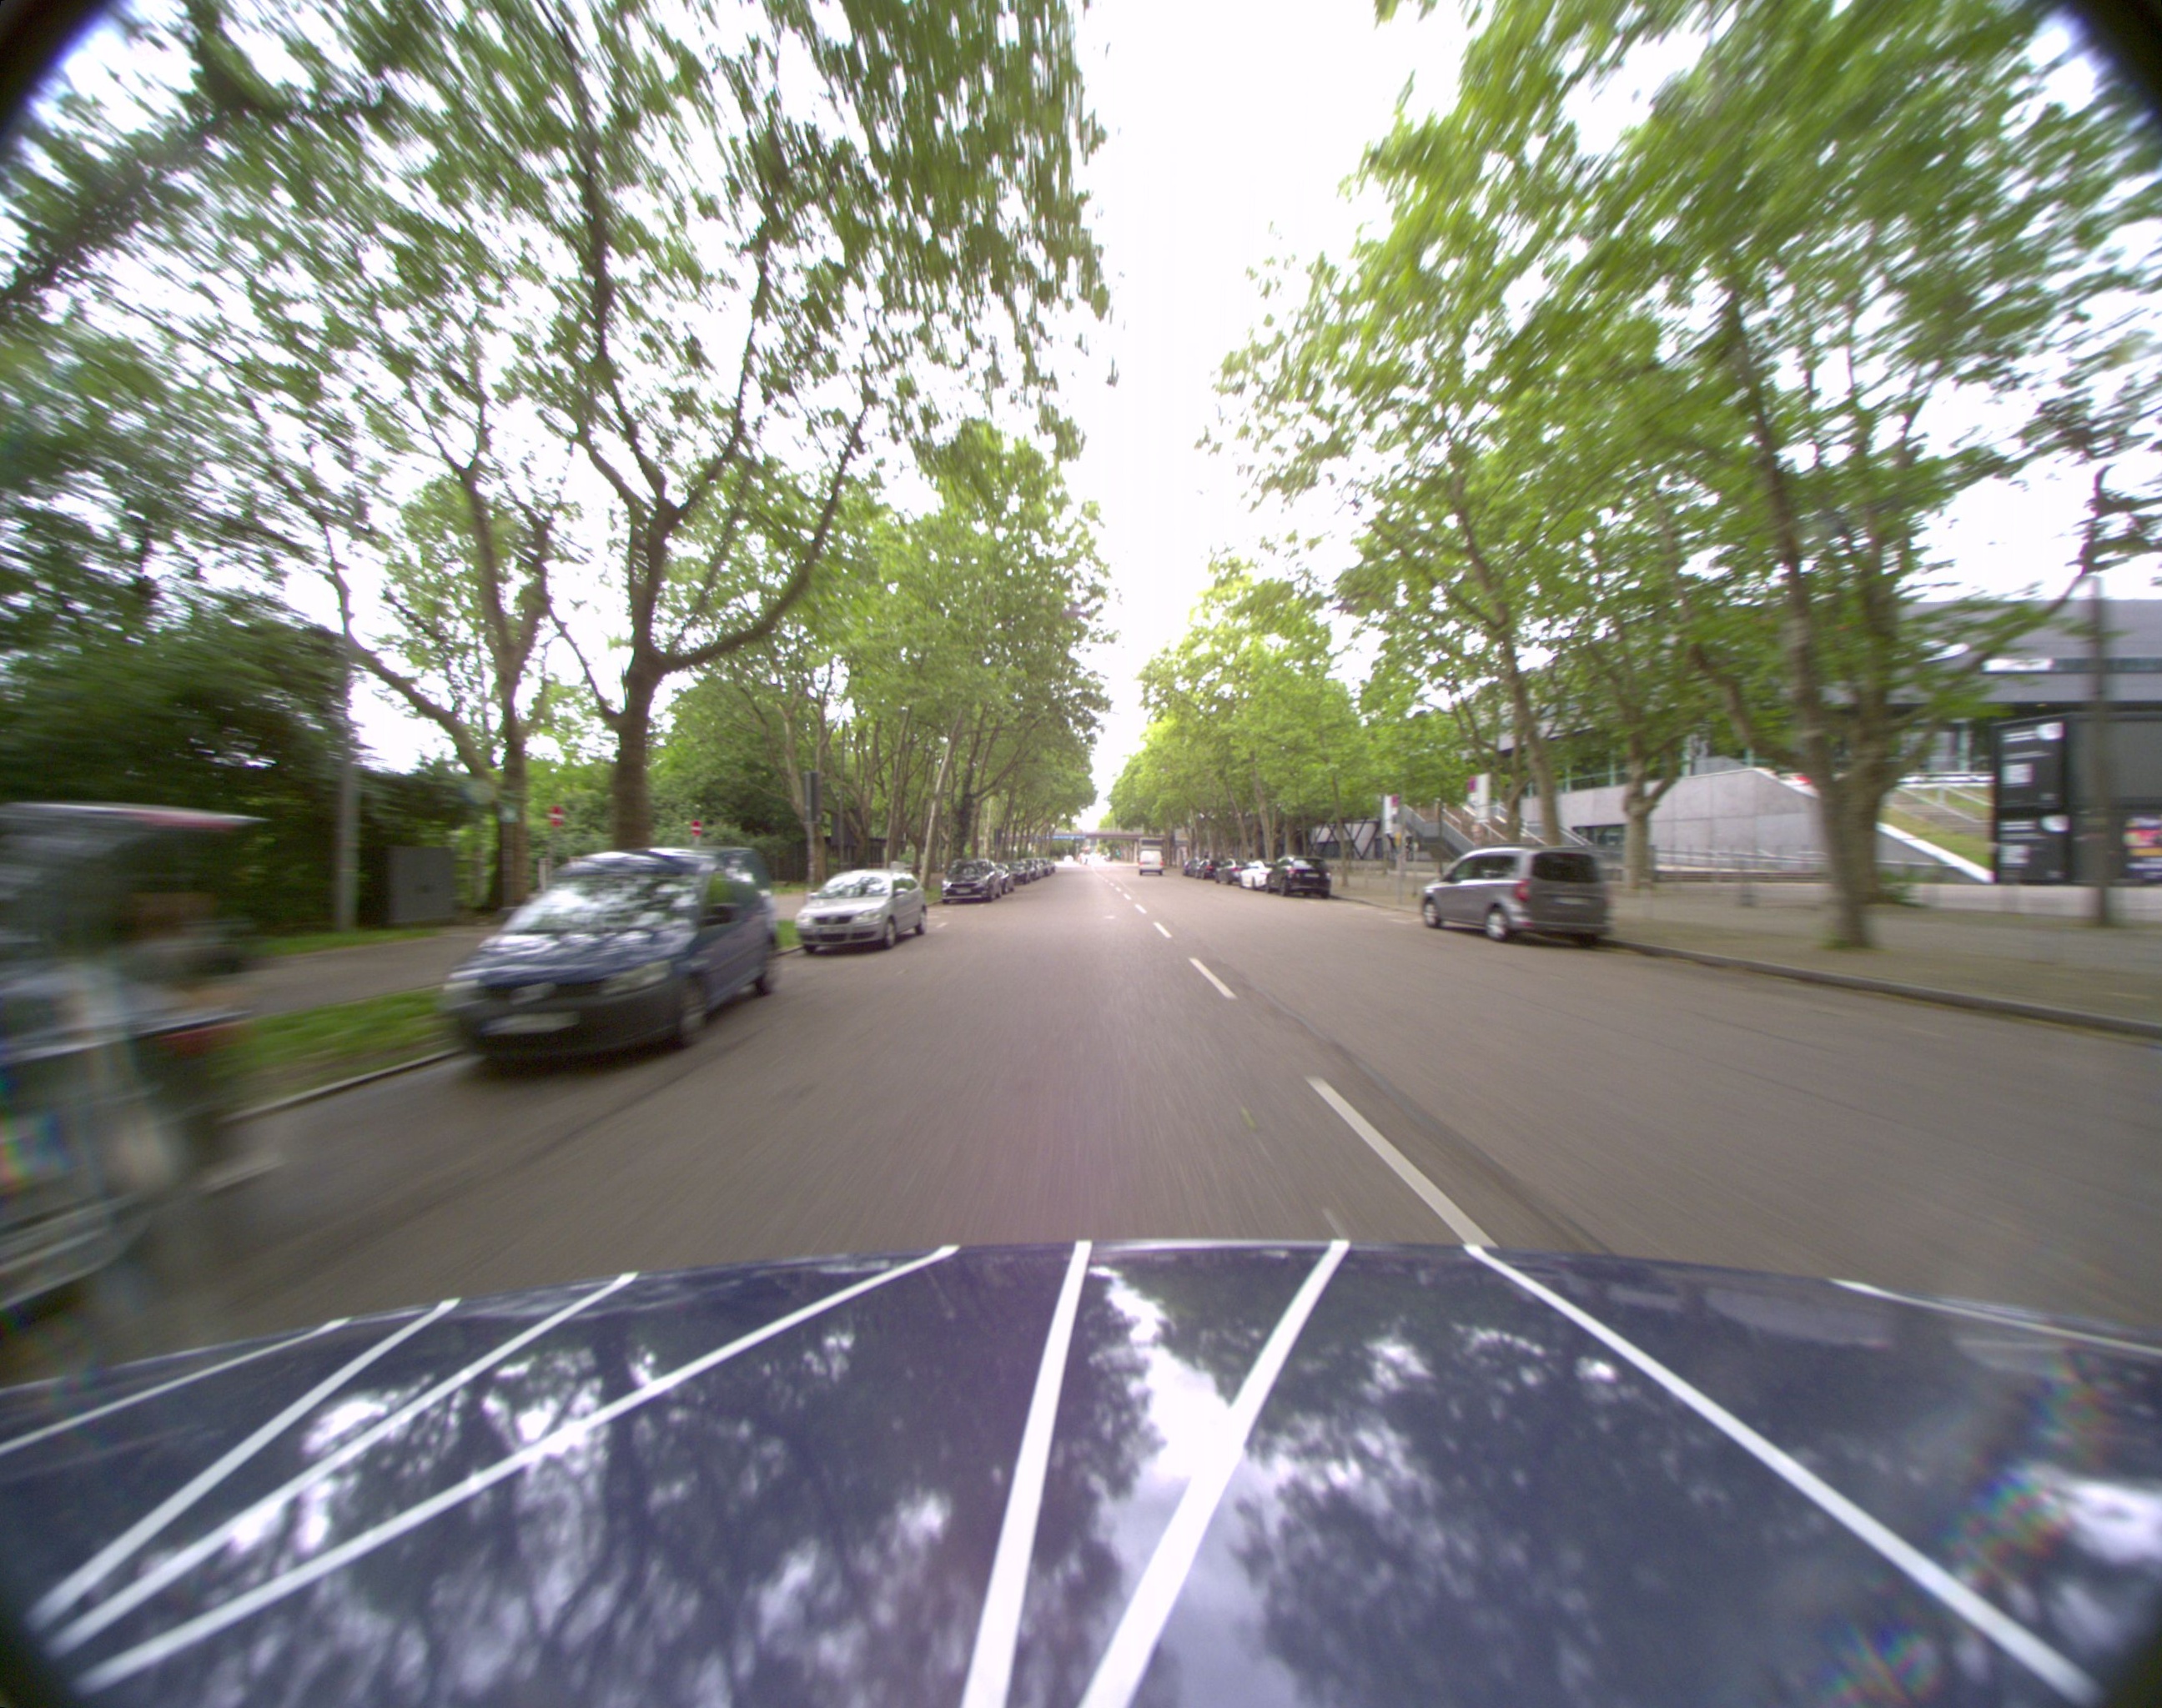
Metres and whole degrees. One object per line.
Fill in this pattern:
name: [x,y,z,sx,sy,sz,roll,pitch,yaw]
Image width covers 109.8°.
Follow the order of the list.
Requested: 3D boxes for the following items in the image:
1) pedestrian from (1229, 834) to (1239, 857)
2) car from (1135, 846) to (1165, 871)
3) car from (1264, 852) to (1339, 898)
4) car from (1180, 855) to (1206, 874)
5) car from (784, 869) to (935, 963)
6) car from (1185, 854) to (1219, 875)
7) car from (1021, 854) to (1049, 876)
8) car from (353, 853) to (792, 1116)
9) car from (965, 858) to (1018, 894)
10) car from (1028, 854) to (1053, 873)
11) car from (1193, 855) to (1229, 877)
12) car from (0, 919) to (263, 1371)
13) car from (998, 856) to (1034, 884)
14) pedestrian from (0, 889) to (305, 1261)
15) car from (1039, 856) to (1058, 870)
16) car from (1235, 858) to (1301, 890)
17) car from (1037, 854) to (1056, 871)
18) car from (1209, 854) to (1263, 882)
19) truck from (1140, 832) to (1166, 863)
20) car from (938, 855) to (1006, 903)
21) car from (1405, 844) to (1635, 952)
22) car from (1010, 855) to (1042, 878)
pedestrian: [12.606,-0.701,62.646,0.508,1.829,0.826,-1,1,-6]
car: [5.647,0.333,62.965,2.064,1.950,5.466,0,0,1]
car: [8.701,0.778,30.354,1.822,1.584,4.345,3,1,3]
car: [9.238,0.830,62.814,1.698,1.354,4.001,4,0,3]
car: [-4.177,1.100,15.012,1.623,1.453,3.946,-3,0,2]
car: [9.188,0.763,58.085,1.699,1.469,3.649,3,0,-5]
car: [-3.633,0.833,60.266,1.783,1.608,4.224,-3,0,1]
car: [-4.474,0.937,7.689,1.848,1.772,4.444,-3,0,-8]
car: [-3.999,0.965,34.721,1.780,1.410,4.287,-3,0,1]
car: [-3.446,0.824,65.160,1.734,1.468,4.982,-3,0,1]
car: [9.019,0.803,53.104,1.712,1.374,4.331,3,0,0]
car: [-4.721,1.071,1.222,1.998,1.469,4.371,-2,0,1]
car: [-3.967,0.921,46.878,1.781,1.544,4.396,-3,0,0]
pedestrian: [-4.538,1.001,3.739,0.635,1.617,0.742,-1,1,0]
car: [-3.469,0.941,81.335,1.734,1.460,4.079,-3,0,0]
car: [8.689,0.885,35.741,1.820,1.354,5.005,1,0,0]
car: [-3.374,0.851,75.320,1.735,1.560,4.079,-3,0,-1]
car: [8.595,0.735,42.553,1.824,1.476,4.992,1,0,-2]
truck: [9.289,-0.865,99.306,2.916,3.846,9.467,1,1,3]
car: [-4.006,0.869,28.618,1.834,1.593,4.467,-3,0,0]
car: [8.528,0.740,15.364,1.900,1.785,4.612,2,1,0]
car: [-3.833,0.875,53.624,1.743,1.462,4.151,-3,0,2]
